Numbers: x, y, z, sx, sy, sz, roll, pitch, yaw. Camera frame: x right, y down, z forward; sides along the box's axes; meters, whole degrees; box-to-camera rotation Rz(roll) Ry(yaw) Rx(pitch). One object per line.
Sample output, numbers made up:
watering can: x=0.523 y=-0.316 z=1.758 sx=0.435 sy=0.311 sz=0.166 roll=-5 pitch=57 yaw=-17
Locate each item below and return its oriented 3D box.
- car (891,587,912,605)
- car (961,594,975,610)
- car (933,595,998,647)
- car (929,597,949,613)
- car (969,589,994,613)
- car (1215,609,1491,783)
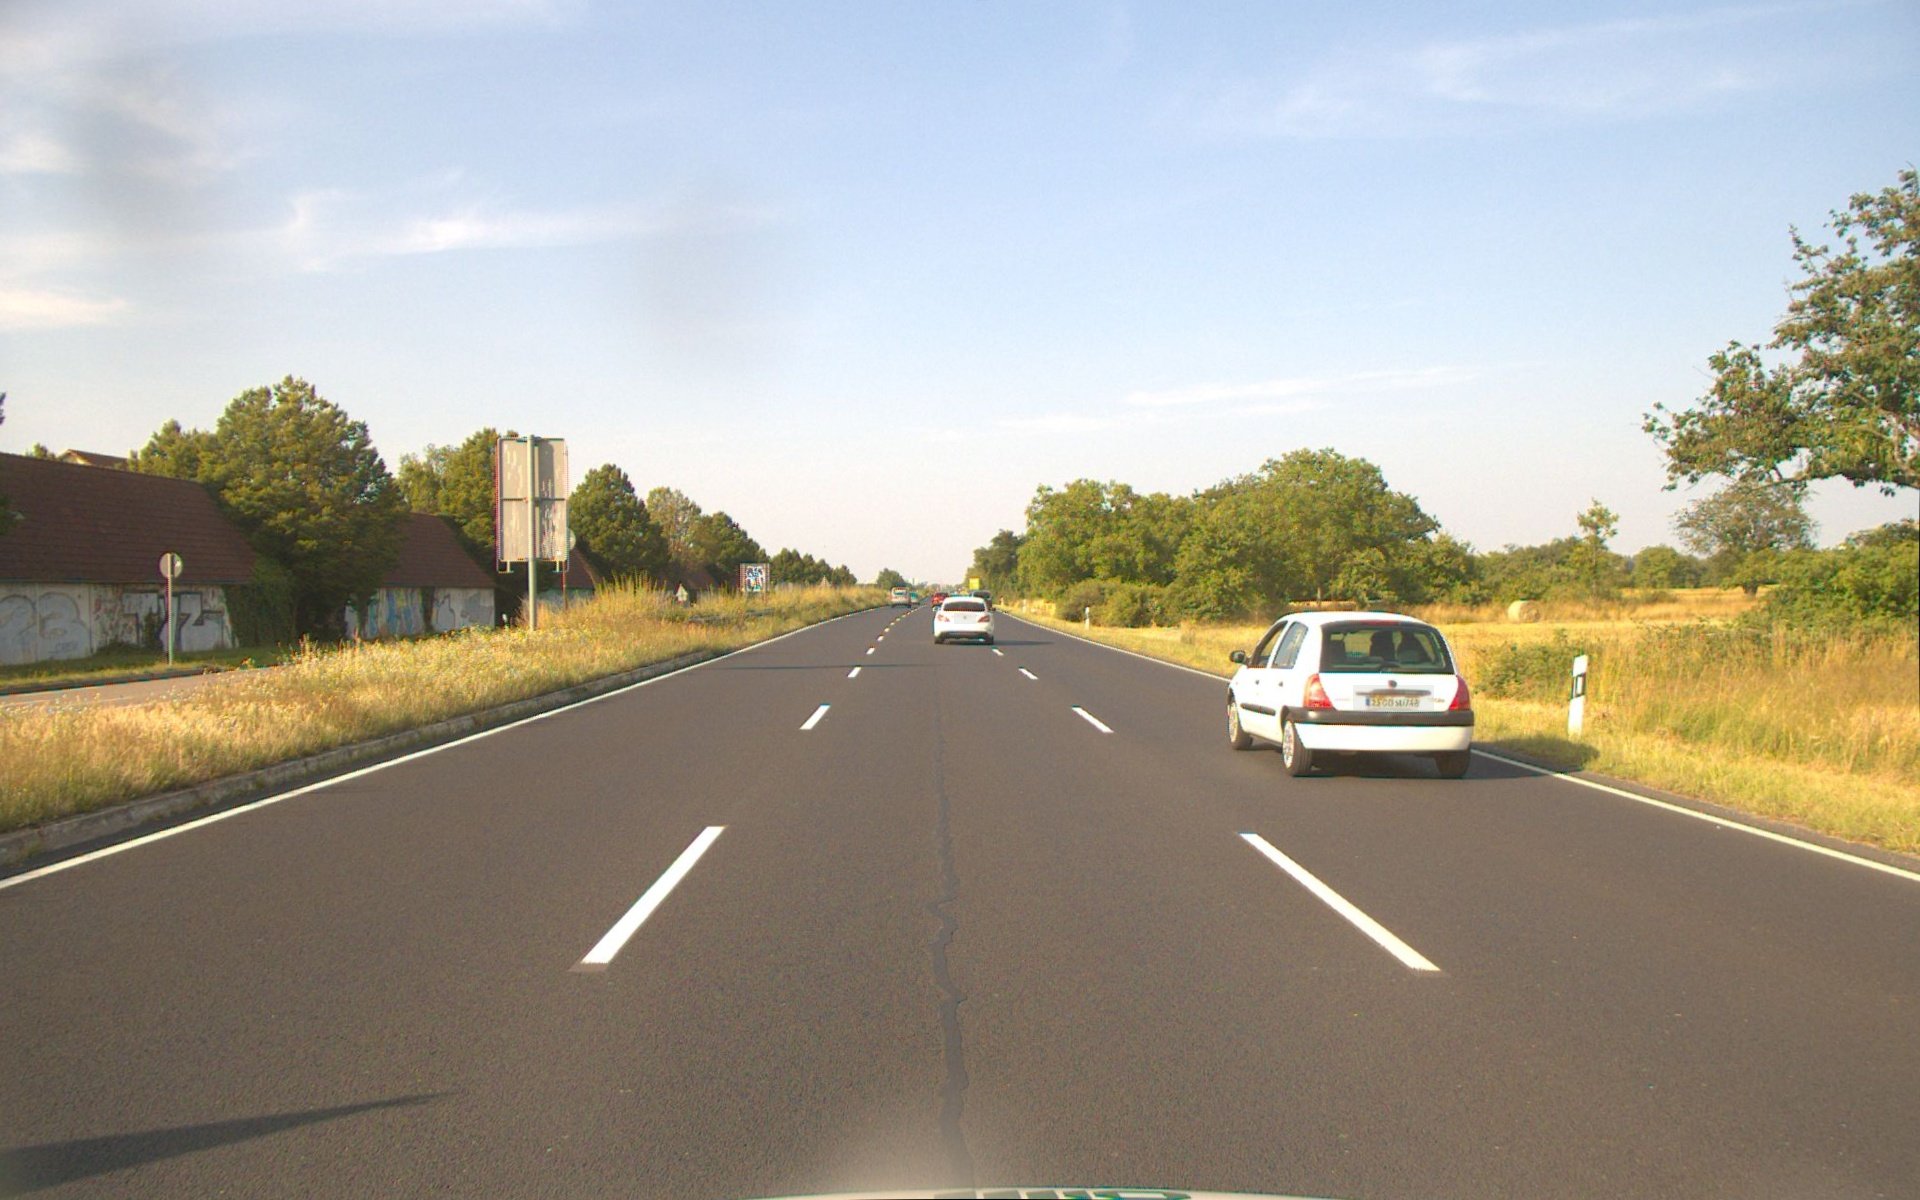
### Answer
car: x=-5.533 y=-0.332 z=156.574 sx=1.722 sy=1.646 sz=4.000 roll=1 pitch=-1 yaw=1
car: x=1.018 y=0.264 z=214.396 sx=1.766 sy=1.937 sz=3.559 roll=1 pitch=-1 yaw=0
car: x=0.144 y=0.656 z=51.956 sx=1.953 sy=1.543 sz=3.999 roll=1 pitch=-1 yaw=-1
car: x=-1.934 y=0.485 z=151.701 sx=1.775 sy=1.461 sz=3.857 roll=1 pitch=-1 yaw=-1
car: x=1.656 y=0.095 z=127.948 sx=1.791 sy=1.758 sz=3.999 roll=1 pitch=-1 yaw=-1
car: x=3.539 y=0.807 z=15.574 sx=1.584 sy=1.411 sz=3.950 roll=1 pitch=-1 yaw=-1
